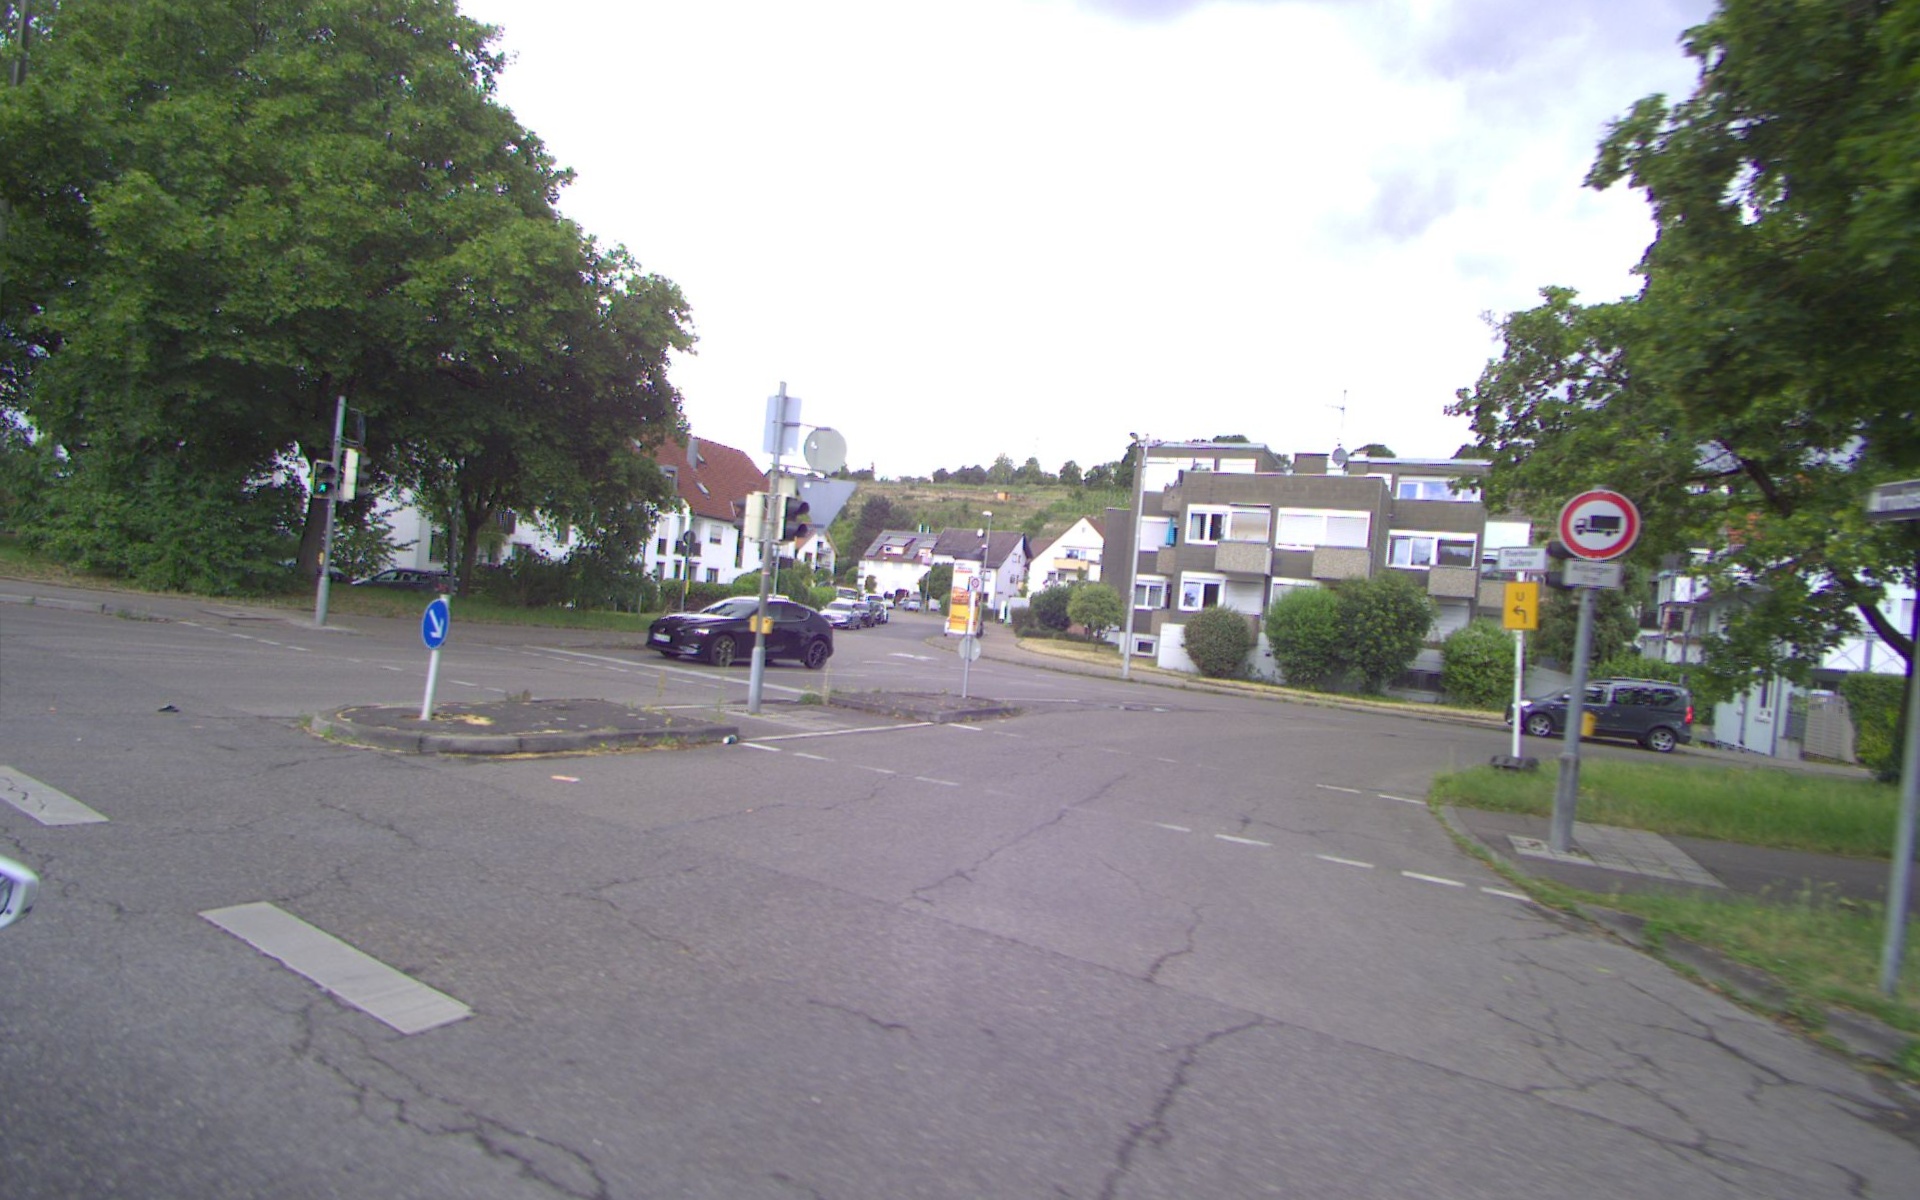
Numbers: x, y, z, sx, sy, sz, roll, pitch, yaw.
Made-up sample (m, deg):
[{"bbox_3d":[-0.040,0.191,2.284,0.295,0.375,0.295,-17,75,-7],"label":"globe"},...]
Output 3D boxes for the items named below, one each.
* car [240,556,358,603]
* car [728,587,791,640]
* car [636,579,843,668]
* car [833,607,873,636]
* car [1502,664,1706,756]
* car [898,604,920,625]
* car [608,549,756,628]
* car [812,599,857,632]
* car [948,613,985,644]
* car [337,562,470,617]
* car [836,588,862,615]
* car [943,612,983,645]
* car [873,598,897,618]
[{"bbox_3d":[-25.376,-0.770,38.636,3.785,1.260,1.629,6,-2,16],"label":"car"},{"bbox_3d":[-8.010,0.582,40.490,1.965,1.785,4.000,7,-3,-6],"label":"car"},{"bbox_3d":[-4.567,0.559,21.406,1.678,1.544,4.153,5,-1,35],"label":"car"},{"bbox_3d":[-6.579,1.373,62.309,1.963,1.442,4.473,7,-3,-1],"label":"car"},{"bbox_3d":[17.329,2.944,27.343,4.330,1.863,1.723,6,-2,26],"label":"car"},{"bbox_3d":[-5.950,1.727,117.595,1.965,2.151,4.463,7,0,-8],"label":"car"},{"bbox_3d":[-8.823,-0.340,32.118,3.975,2.038,1.975,7,-1,-44],"label":"car"},{"bbox_3d":[-6.892,0.905,55.628,1.964,1.442,4.472,7,-3,-2],"label":"car"},{"bbox_3d":[0.347,1.705,60.887,1.963,1.536,4.000,7,-1,-1],"label":"car"},{"bbox_3d":[-20.381,-0.378,36.872,4.208,1.478,1.667,6,-2,16],"label":"car"},{"bbox_3d":[-10.088,0.152,91.677,1.964,2.151,4.466,7,0,-4],"label":"car"},{"bbox_3d":[0.133,1.542,55.414,1.963,1.536,4.000,7,-1,-1],"label":"car"},{"bbox_3d":[-9.709,1.027,129.938,2.374,2.264,4.460,7,0,-10],"label":"car"}]
